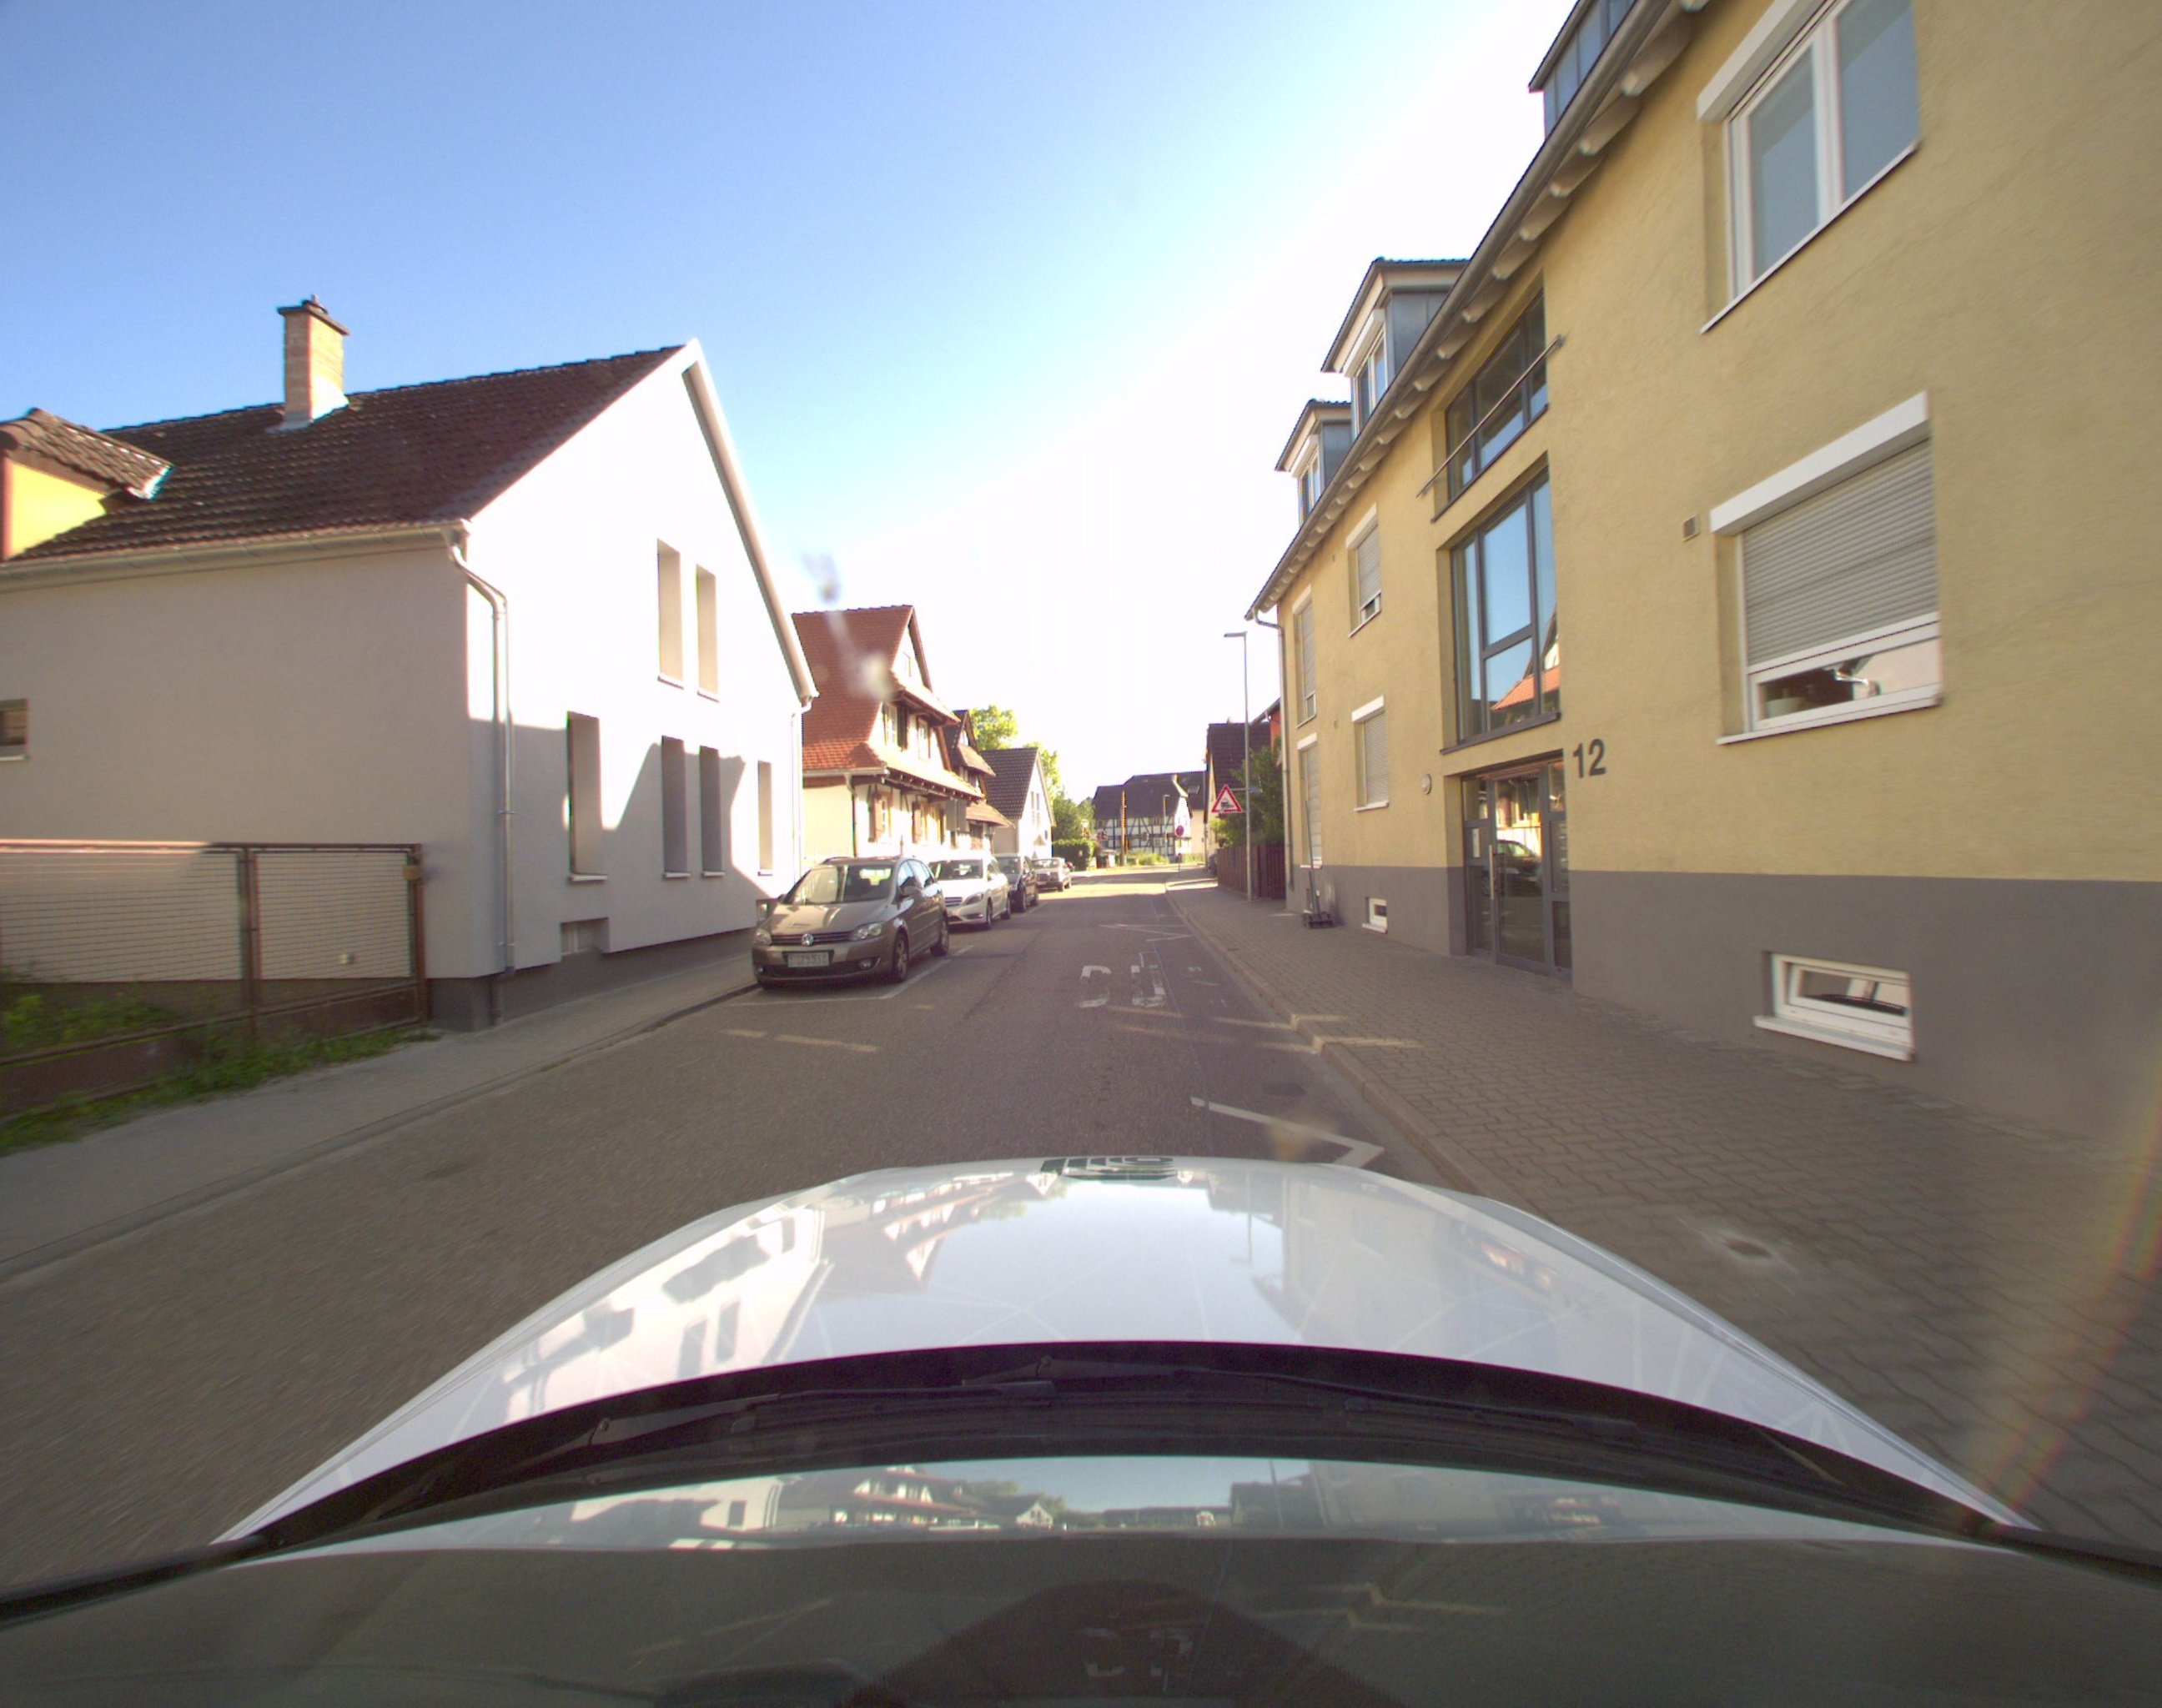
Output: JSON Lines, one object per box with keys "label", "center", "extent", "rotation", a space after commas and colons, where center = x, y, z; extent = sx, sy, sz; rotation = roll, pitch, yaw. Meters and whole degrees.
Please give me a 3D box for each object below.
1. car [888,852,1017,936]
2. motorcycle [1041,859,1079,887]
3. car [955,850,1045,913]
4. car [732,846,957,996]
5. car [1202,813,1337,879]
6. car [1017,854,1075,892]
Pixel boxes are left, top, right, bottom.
{"label": "car", "center": [-2.673, 0.798, 17.925], "extent": [1.808, 1.567, 4.173], "rotation": [-2, -1, 4]}
{"label": "motorcycle", "center": [-1.028, 0.907, 38.564], "extent": [0.630, 1.231, 1.971], "rotation": [-3, 0, -42]}
{"label": "car", "center": [-2.235, 0.731, 23.580], "extent": [1.775, 1.604, 4.366], "rotation": [-2, 0, 4]}
{"label": "car", "center": [-2.971, 0.770, 11.161], "extent": [1.736, 1.614, 4.001], "rotation": [-2, -1, 2]}
{"label": "car", "center": [8.772, -0.354, 38.253], "extent": [5.785, 2.655, 1.967], "rotation": [-4, -1, 0]}
{"label": "car", "center": [-1.422, 0.780, 35.039], "extent": [1.836, 1.406, 5.042], "rotation": [-3, -1, 4]}
